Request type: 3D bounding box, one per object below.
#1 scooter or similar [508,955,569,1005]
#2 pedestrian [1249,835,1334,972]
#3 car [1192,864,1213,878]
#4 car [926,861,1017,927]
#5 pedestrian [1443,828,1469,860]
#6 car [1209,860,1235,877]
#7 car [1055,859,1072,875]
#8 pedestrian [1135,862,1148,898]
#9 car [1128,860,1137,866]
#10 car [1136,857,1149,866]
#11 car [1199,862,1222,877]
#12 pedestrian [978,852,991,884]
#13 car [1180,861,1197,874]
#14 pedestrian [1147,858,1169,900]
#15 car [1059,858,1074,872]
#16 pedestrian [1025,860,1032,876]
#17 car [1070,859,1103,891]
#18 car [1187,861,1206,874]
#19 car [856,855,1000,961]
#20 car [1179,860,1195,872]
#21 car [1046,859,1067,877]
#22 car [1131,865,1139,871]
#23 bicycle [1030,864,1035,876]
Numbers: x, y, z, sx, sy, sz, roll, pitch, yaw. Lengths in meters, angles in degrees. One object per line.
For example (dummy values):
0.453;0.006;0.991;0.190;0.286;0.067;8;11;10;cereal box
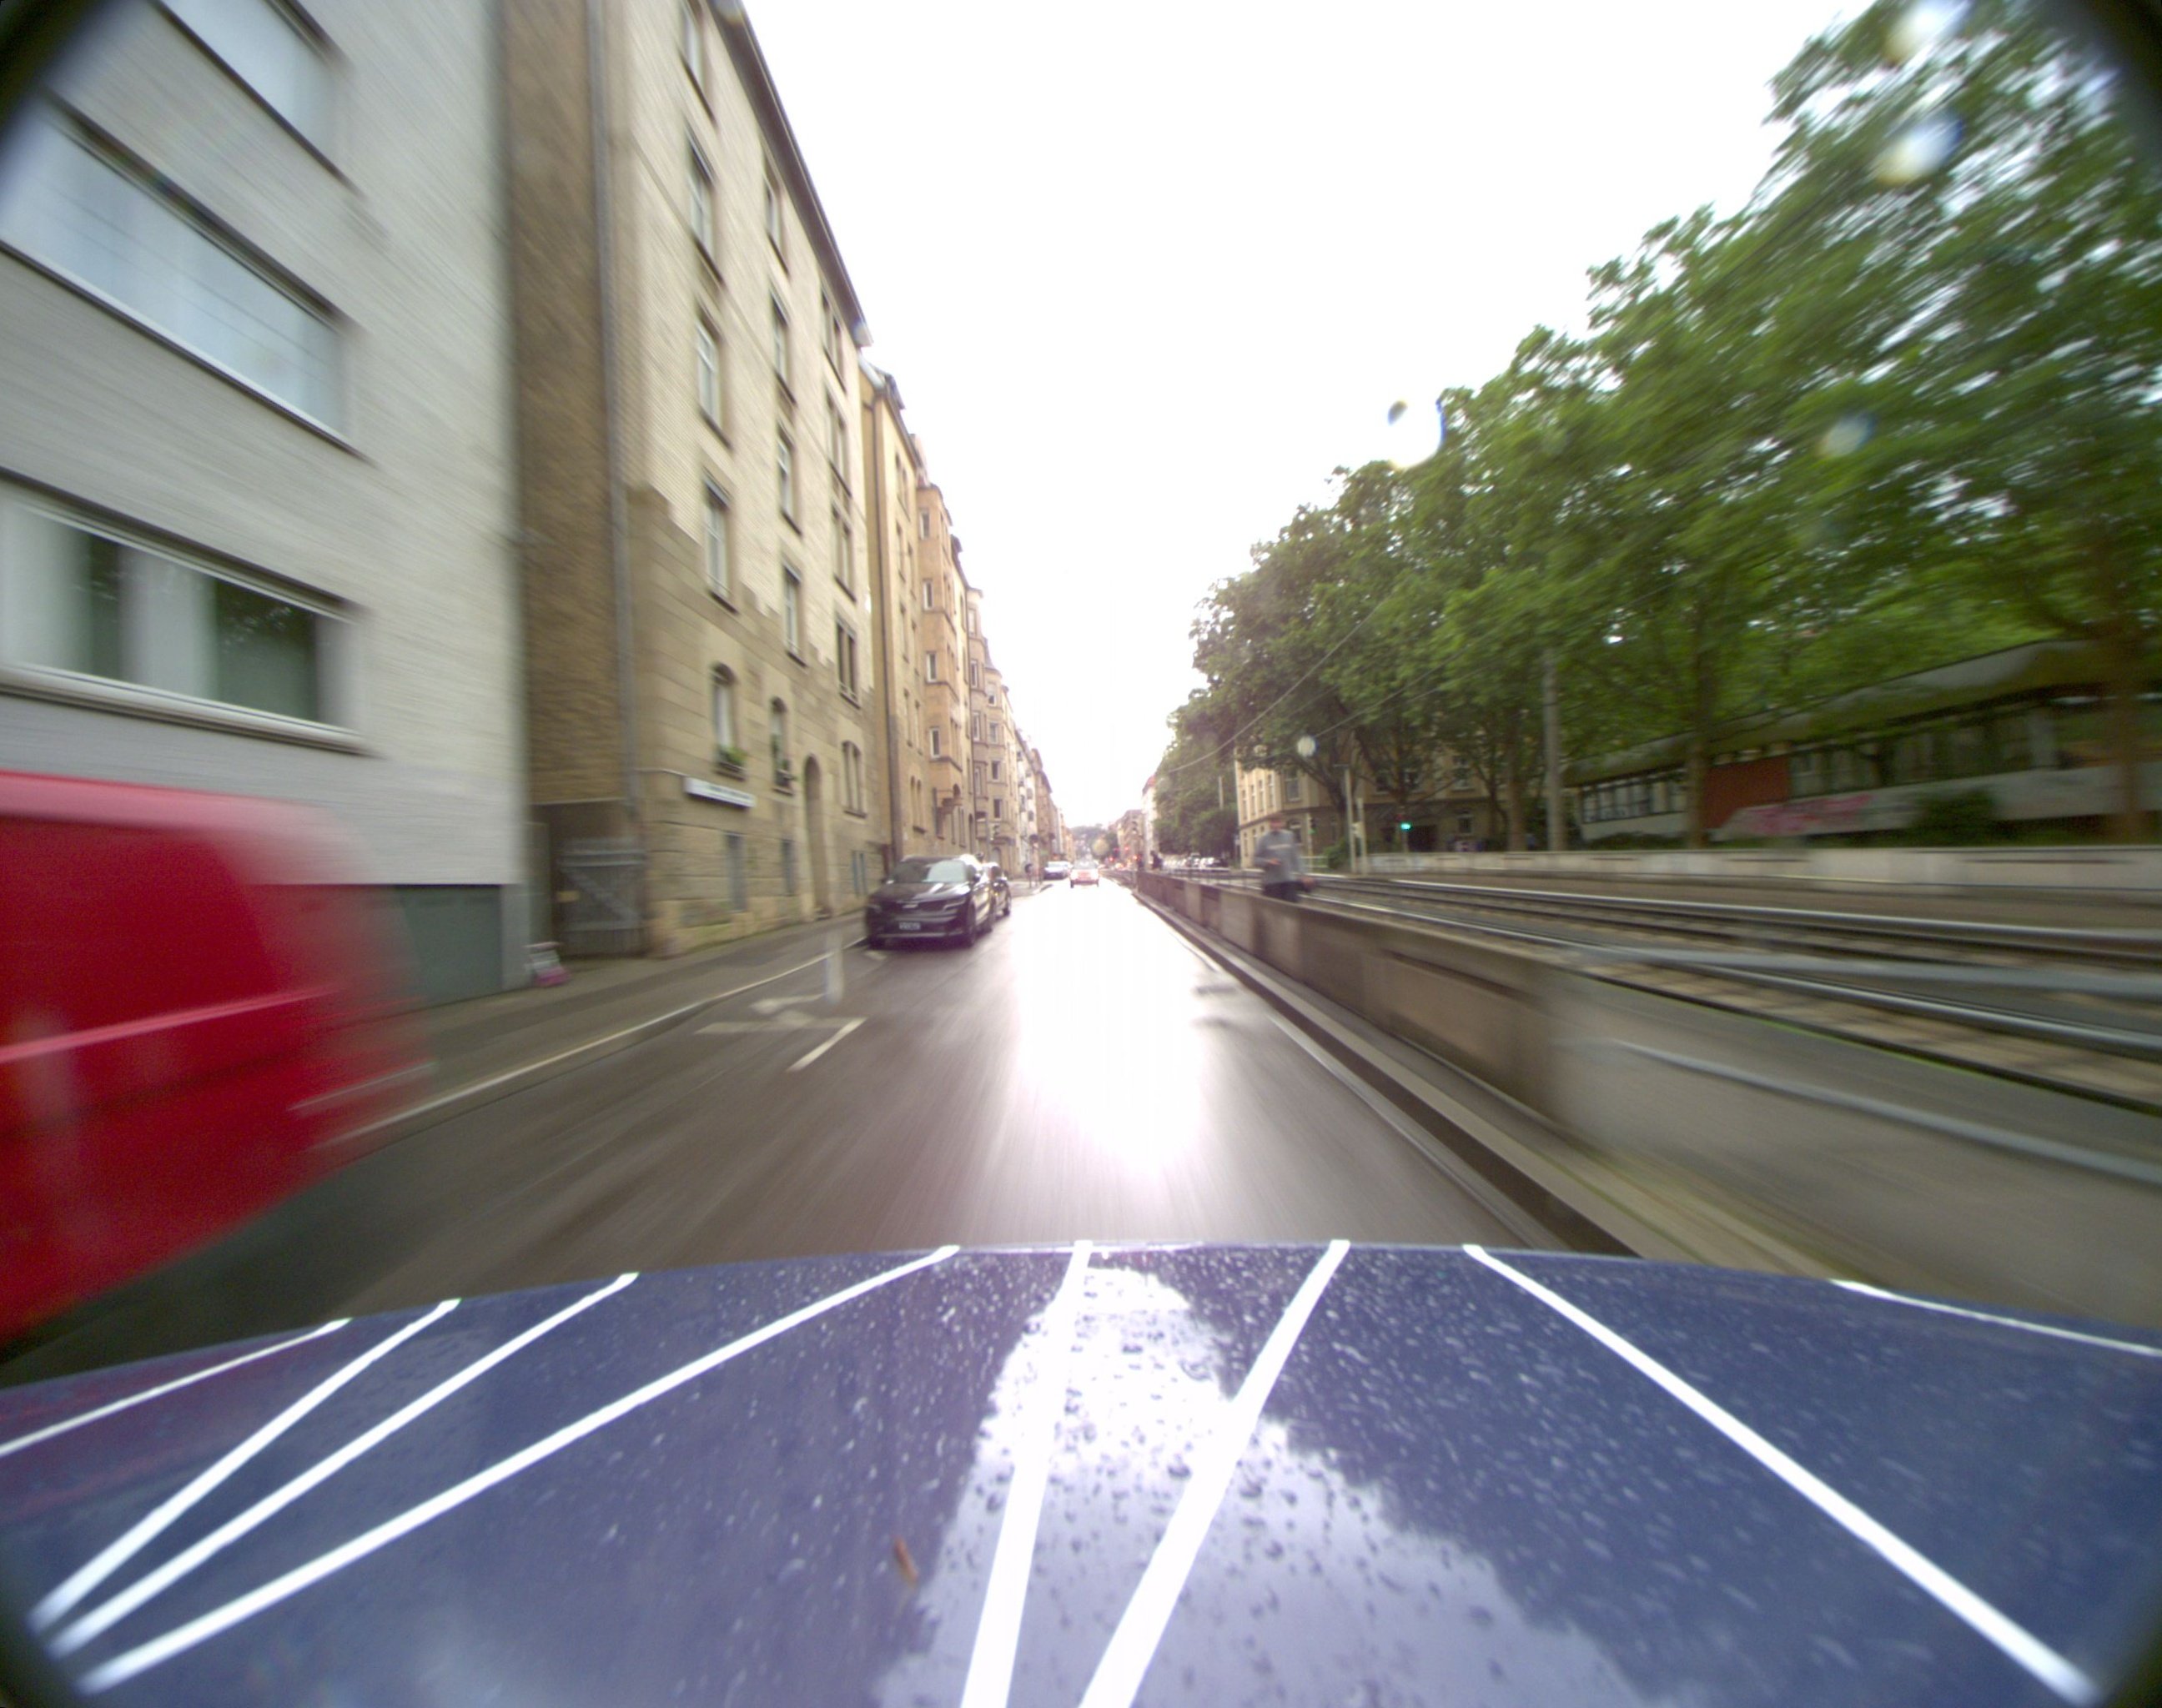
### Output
-6.475;1.488;9.060;0.858;0.503;0.258;-2;1;31;scooter or similar
2.918;0.666;10.610;0.861;1.788;0.787;-3;0;0;pedestrian
13.198;1.865;82.969;1.646;1.392;3.517;-3;-1;-1;car
-2.835;1.011;20.379;1.665;1.444;3.609;-3;1;3;car
21.565;-0.552;43.697;0.862;1.788;0.870;-3;0;-20;pedestrian
13.621;1.338;73.569;1.892;1.468;3.807;-4;0;1;car
-1.984;1.513;86.530;1.745;1.729;4.001;-2;-1;1;car
2.802;1.194;35.073;0.481;1.629;0.433;-3;0;0;pedestrian
11.020;1.953;161.732;1.572;1.159;2.910;-3;-1;-3;car
10.332;1.237;128.035;1.687;1.468;3.311;-4;0;-4;car
13.236;1.610;77.972;1.646;1.392;3.517;-3;-1;-1;car
-5.352;0.798;42.271;0.580;1.741;0.574;-1;-1;1;pedestrian
13.205;1.642;93.308;1.484;1.440;3.500;-3;-1;-2;car
3.196;1.052;31.587;0.651;1.694;0.662;-3;0;23;pedestrian
-1.796;1.406;94.896;1.745;1.649;4.001;-2;-1;1;car
-4.547;1.208;65.816;0.510;1.362;0.404;-2;0;-26;pedestrian
0.254;1.138;41.442;1.621;1.592;4.067;-2;-2;-1;car
13.385;1.555;88.077;1.484;1.392;3.282;-3;-1;-2;car
-2.812;0.932;15.003;1.770;1.698;4.500;-3;0;1;car
13.598;1.577;97.752;1.402;1.499;3.314;-3;-1;-2;car
-2.188;1.260;68.440;1.745;1.576;4.000;-2;-1;0;car
11.481;2.883;160.808;1.326;1.159;2.910;-3;-1;-1;car
-4.204;1.391;65.975;0.339;1.008;1.676;0;-1;2;bicycle
